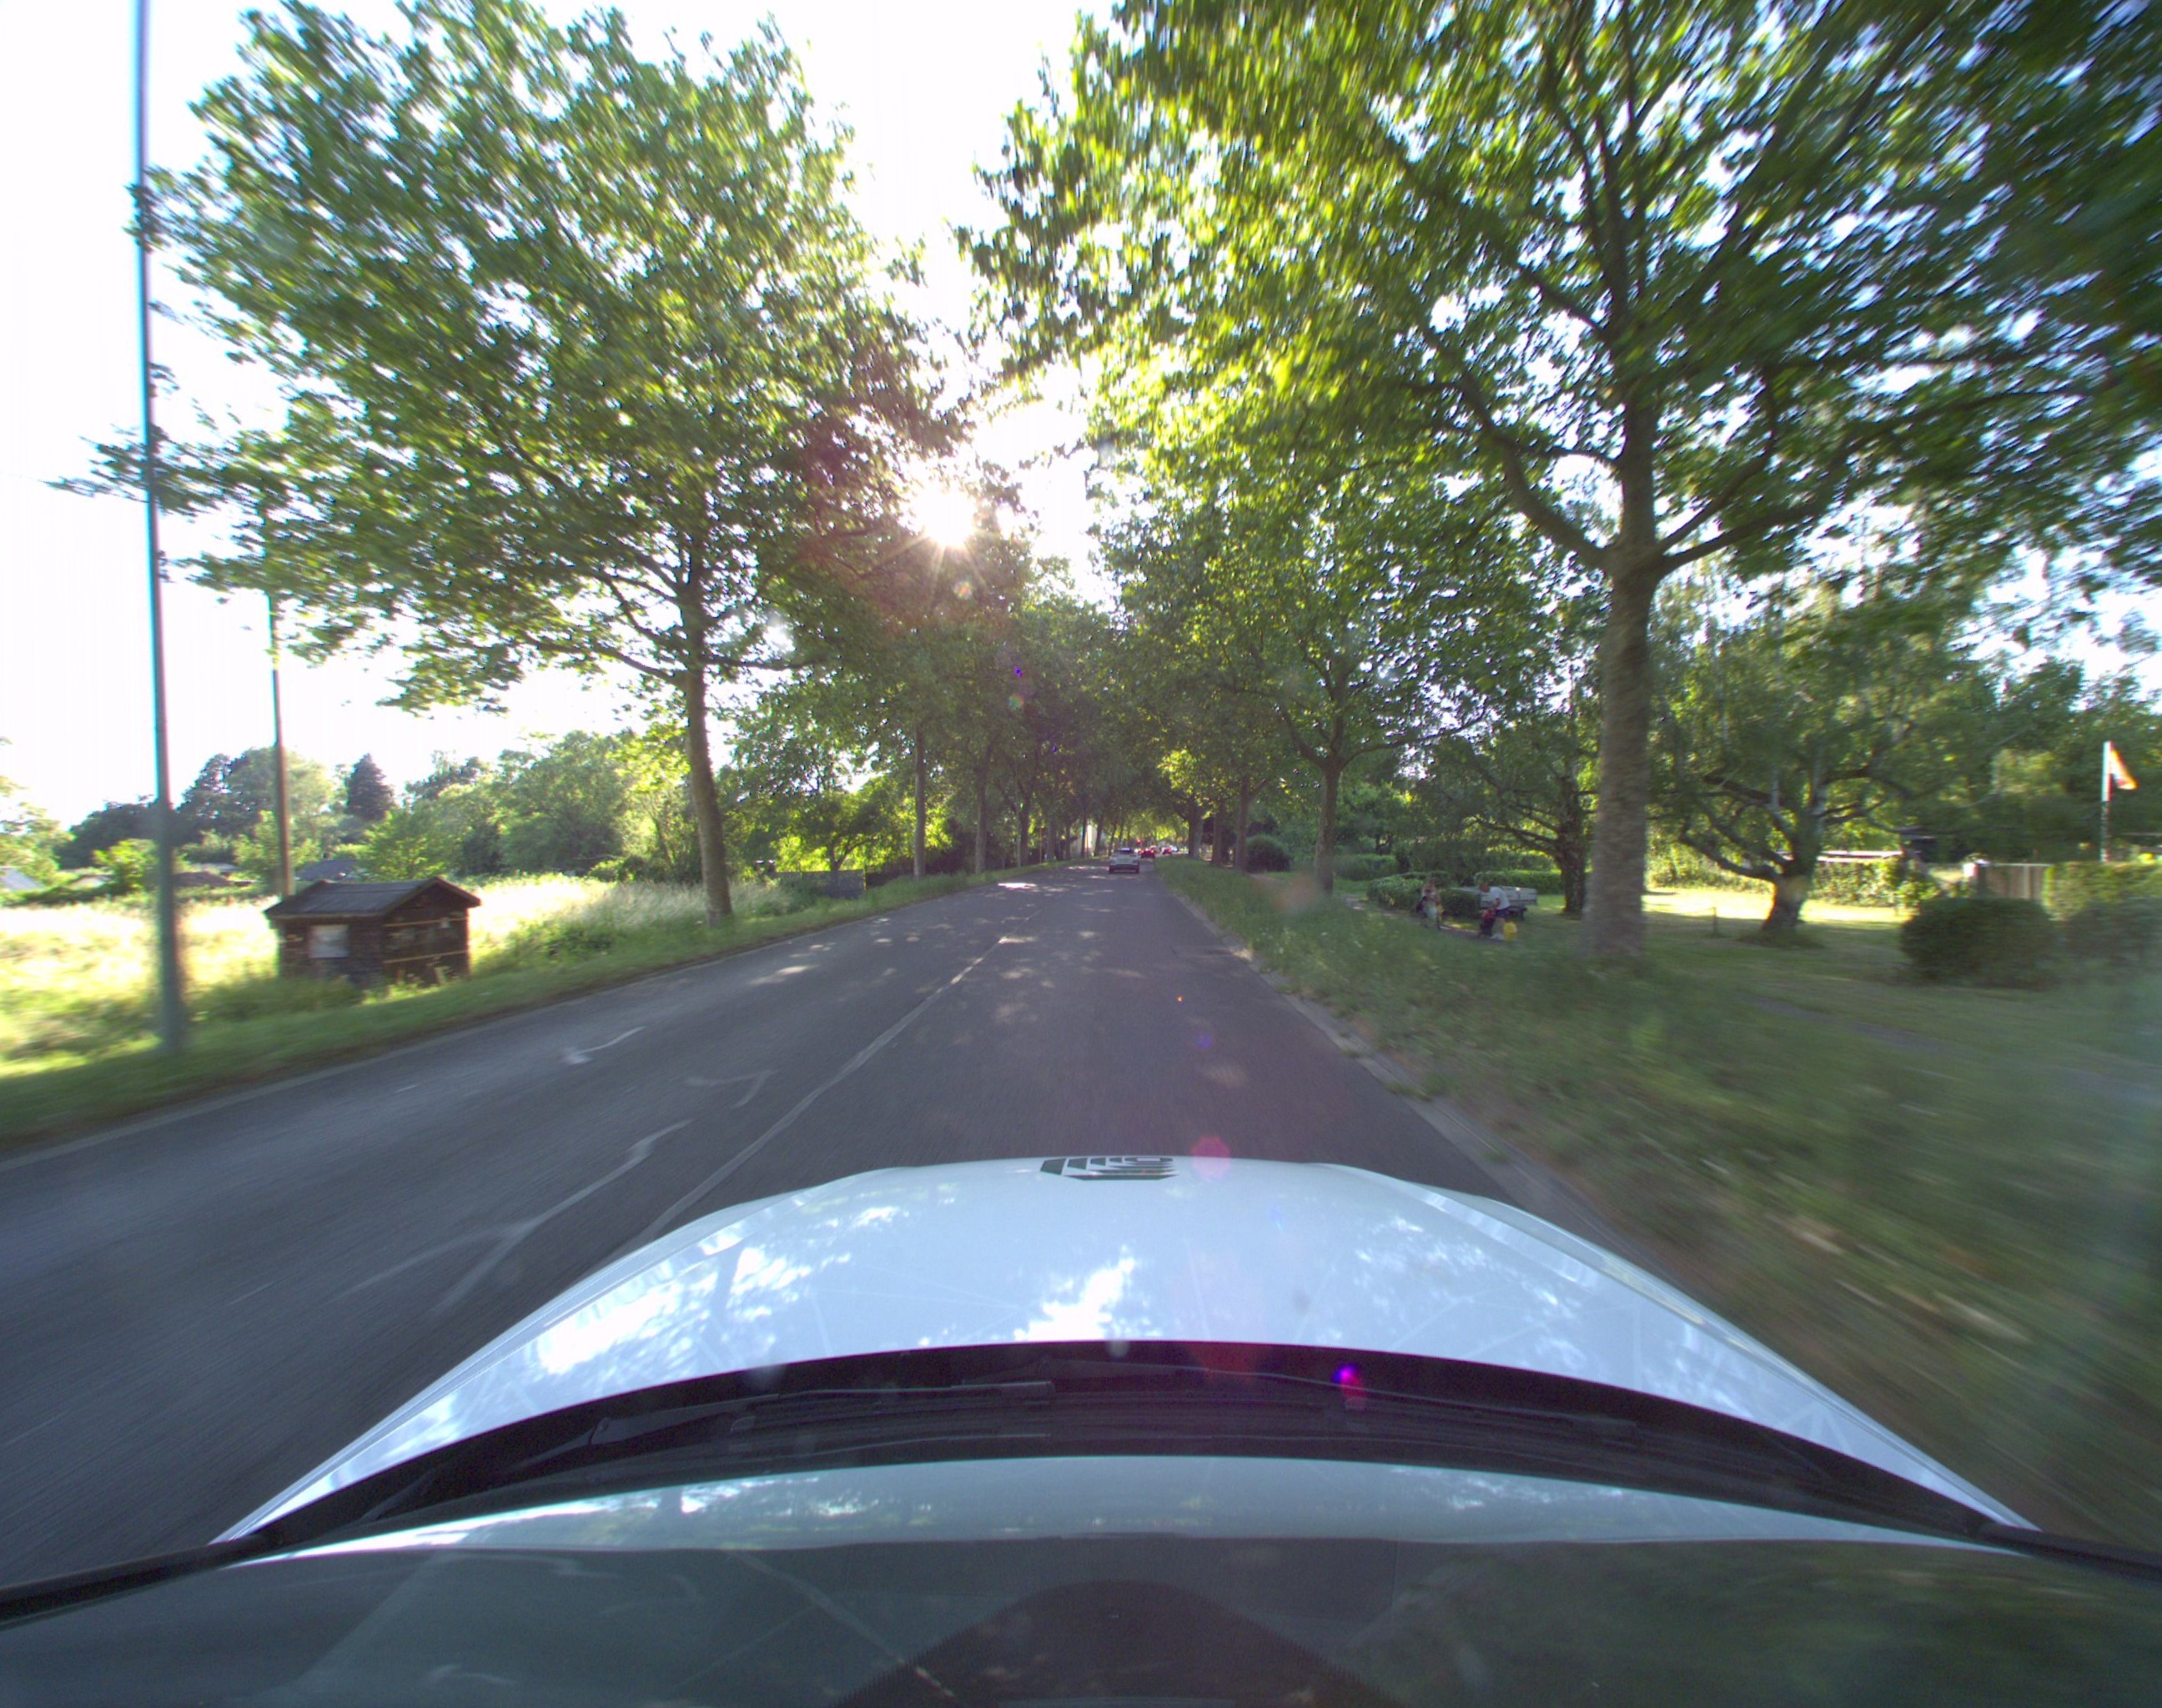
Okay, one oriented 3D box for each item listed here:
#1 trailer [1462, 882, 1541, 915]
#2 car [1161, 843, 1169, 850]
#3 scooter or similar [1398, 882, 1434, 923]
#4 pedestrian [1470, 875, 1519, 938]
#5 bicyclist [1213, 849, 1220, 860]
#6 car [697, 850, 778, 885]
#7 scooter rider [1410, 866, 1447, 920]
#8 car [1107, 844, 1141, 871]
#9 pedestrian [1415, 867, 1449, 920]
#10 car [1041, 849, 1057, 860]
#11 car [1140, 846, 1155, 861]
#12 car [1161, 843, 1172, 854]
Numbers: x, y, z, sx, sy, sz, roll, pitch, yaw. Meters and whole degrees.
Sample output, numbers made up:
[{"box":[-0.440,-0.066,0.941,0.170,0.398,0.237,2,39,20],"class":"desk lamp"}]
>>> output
[{"box":[14.239,1.491,27.668,2.106,1.052,1.203,0,0,7],"class":"trailer"},{"box":[22.532,-1.986,218.848,1.982,2.013,4.009,0,0,8],"class":"car"},{"box":[9.909,1.416,24.060,1.608,1.135,0.337,0,0,-42],"class":"scooter or similar"},{"box":[10.915,1.363,21.538,0.837,1.576,1.210,0,0,11],"class":"pedestrian"},{"box":[16.901,0.040,101.743,0.732,1.366,0.769,0,0,-5],"class":"bicyclist"},{"box":[-20.249,0.755,48.101,3.960,2.013,2.007,0,0,13],"class":"car"},{"box":[10.366,1.148,24.321,0.838,1.576,0.786,0,0,6],"class":"scooter rider"},{"box":[2.663,0.186,49.570,1.984,1.574,4.005,0,0,4],"class":"car"},{"box":[10.791,1.183,25.019,0.774,1.576,0.850,0,0,38],"class":"pedestrian"},{"box":[-4.324,0.054,109.701,1.744,1.304,4.005,-2,1,4],"class":"car"},{"box":[9.136,-0.019,111.566,1.984,2.013,4.005,0,0,5],"class":"car"},{"box":[16.603,-1.065,157.898,1.984,2.013,4.007,0,0,6],"class":"car"}]
